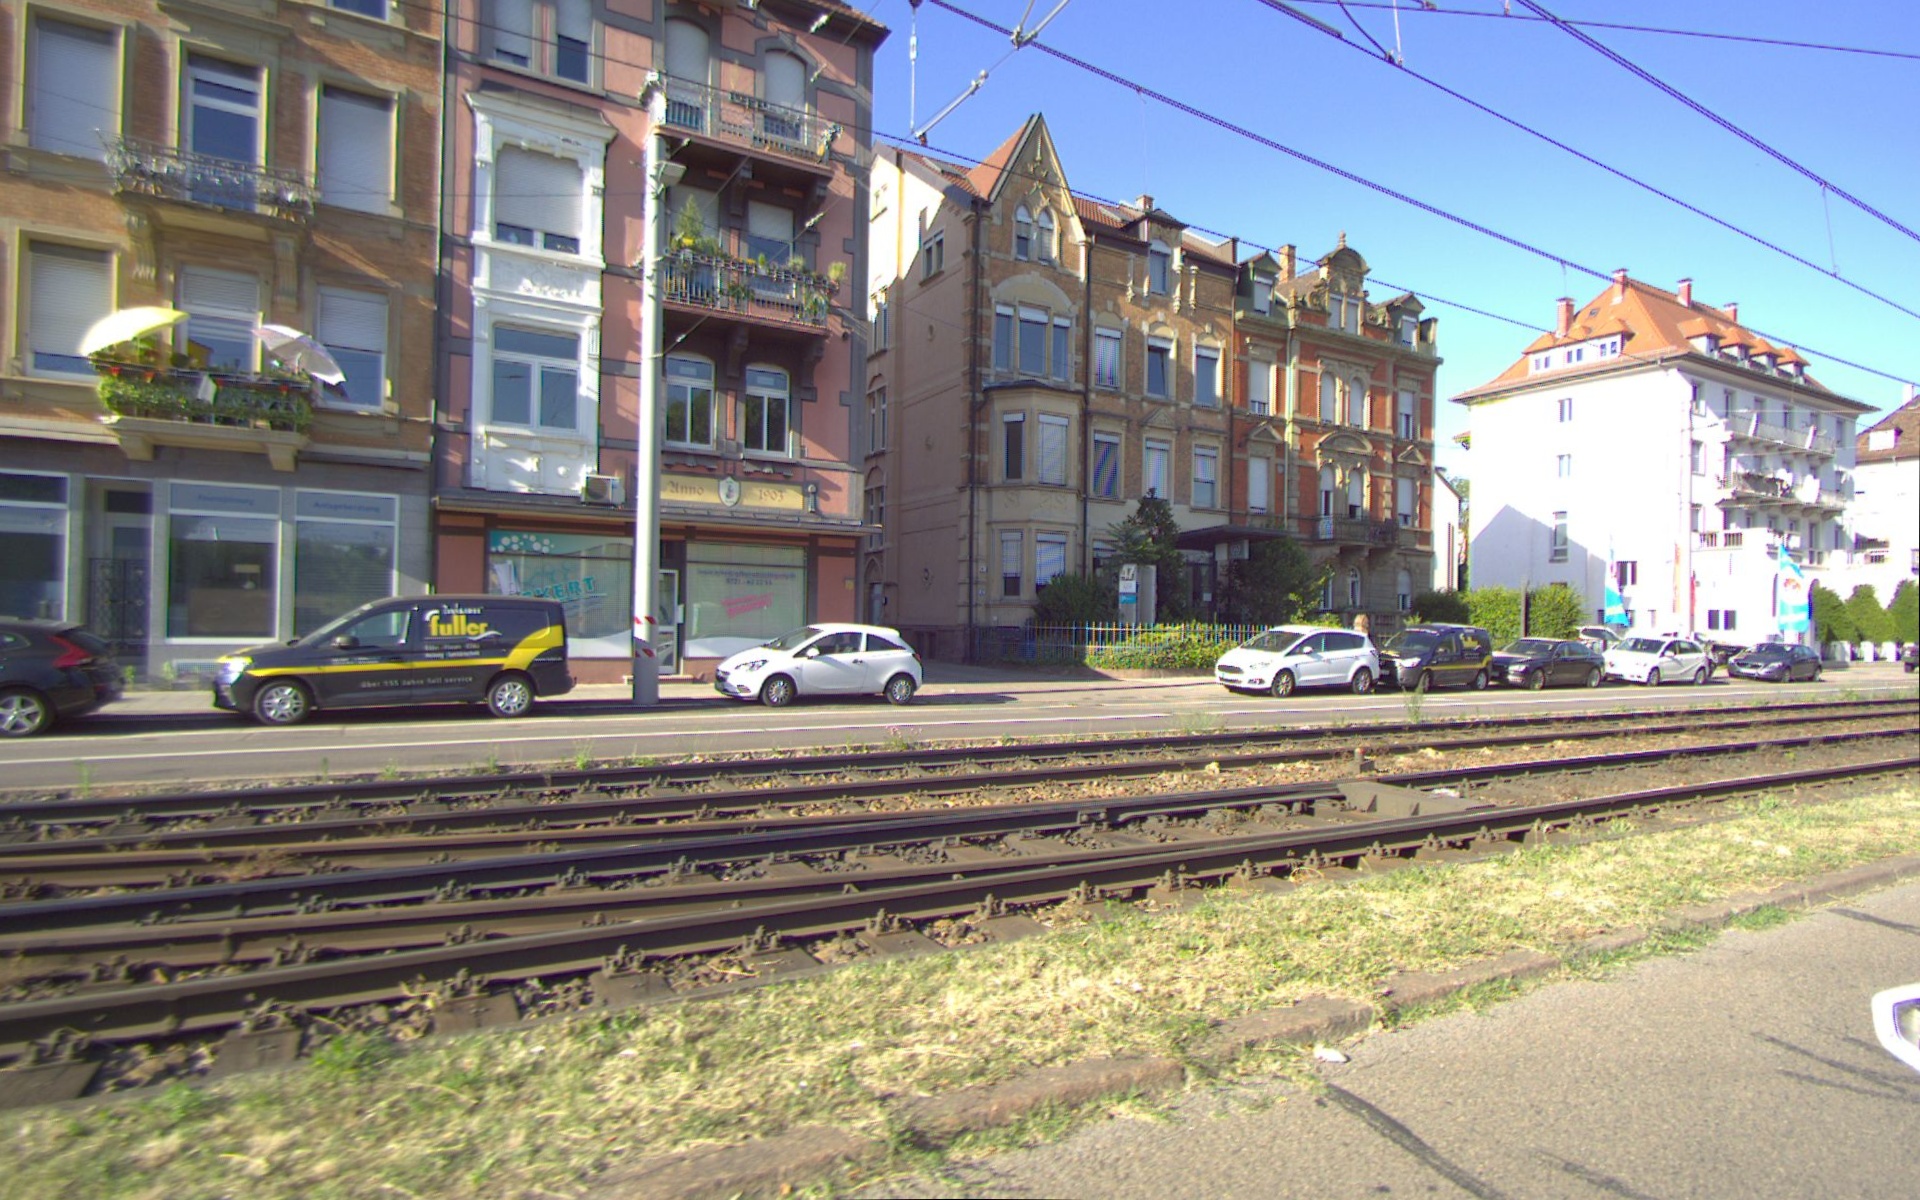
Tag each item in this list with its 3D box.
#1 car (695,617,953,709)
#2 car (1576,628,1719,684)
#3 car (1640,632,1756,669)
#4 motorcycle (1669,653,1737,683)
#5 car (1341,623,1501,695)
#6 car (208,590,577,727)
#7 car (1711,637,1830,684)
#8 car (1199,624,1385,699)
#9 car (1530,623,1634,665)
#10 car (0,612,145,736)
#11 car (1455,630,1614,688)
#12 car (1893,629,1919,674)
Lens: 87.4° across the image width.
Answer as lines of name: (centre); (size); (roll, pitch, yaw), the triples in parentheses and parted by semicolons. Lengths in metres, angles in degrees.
car: (-2.584, 1.172, 19.451); (4.576, 1.559, 1.910); (2, 0, -32)
car: (23.030, 1.846, 33.610); (4.780, 1.717, 1.913); (2, 0, -28)
car: (35.370, 2.383, 48.237); (1.921, 1.655, 4.124); (-1, -1, -19)
motorcycle: (26.801, 2.441, 36.255); (2.116, 0.967, 0.826); (3, 0, -16)
car: (12.870, 1.598, 27.993); (4.448, 1.804, 1.910); (2, 0, -32)
car: (-8.518, 0.837, 15.449); (4.675, 1.831, 1.651); (2, 0, -31)
car: (30.708, 2.265, 38.017); (4.787, 1.480, 1.910); (2, 4, -31)
car: (8.476, 1.520, 25.589); (4.572, 1.706, 1.912); (2, 0, -30)
car: (28.073, 1.990, 45.298); (4.502, 1.677, 1.898); (4, -3, -26)
car: (-12.920, 0.892, 12.577); (3.933, 1.465, 1.652); (2, 0, -30)
car: (17.462, 1.754, 30.502); (4.780, 1.581, 1.913); (2, 0, -28)
car: (47.250, 2.504, 48.089); (5.521, 2.037, 2.069); (2, 0, -28)
